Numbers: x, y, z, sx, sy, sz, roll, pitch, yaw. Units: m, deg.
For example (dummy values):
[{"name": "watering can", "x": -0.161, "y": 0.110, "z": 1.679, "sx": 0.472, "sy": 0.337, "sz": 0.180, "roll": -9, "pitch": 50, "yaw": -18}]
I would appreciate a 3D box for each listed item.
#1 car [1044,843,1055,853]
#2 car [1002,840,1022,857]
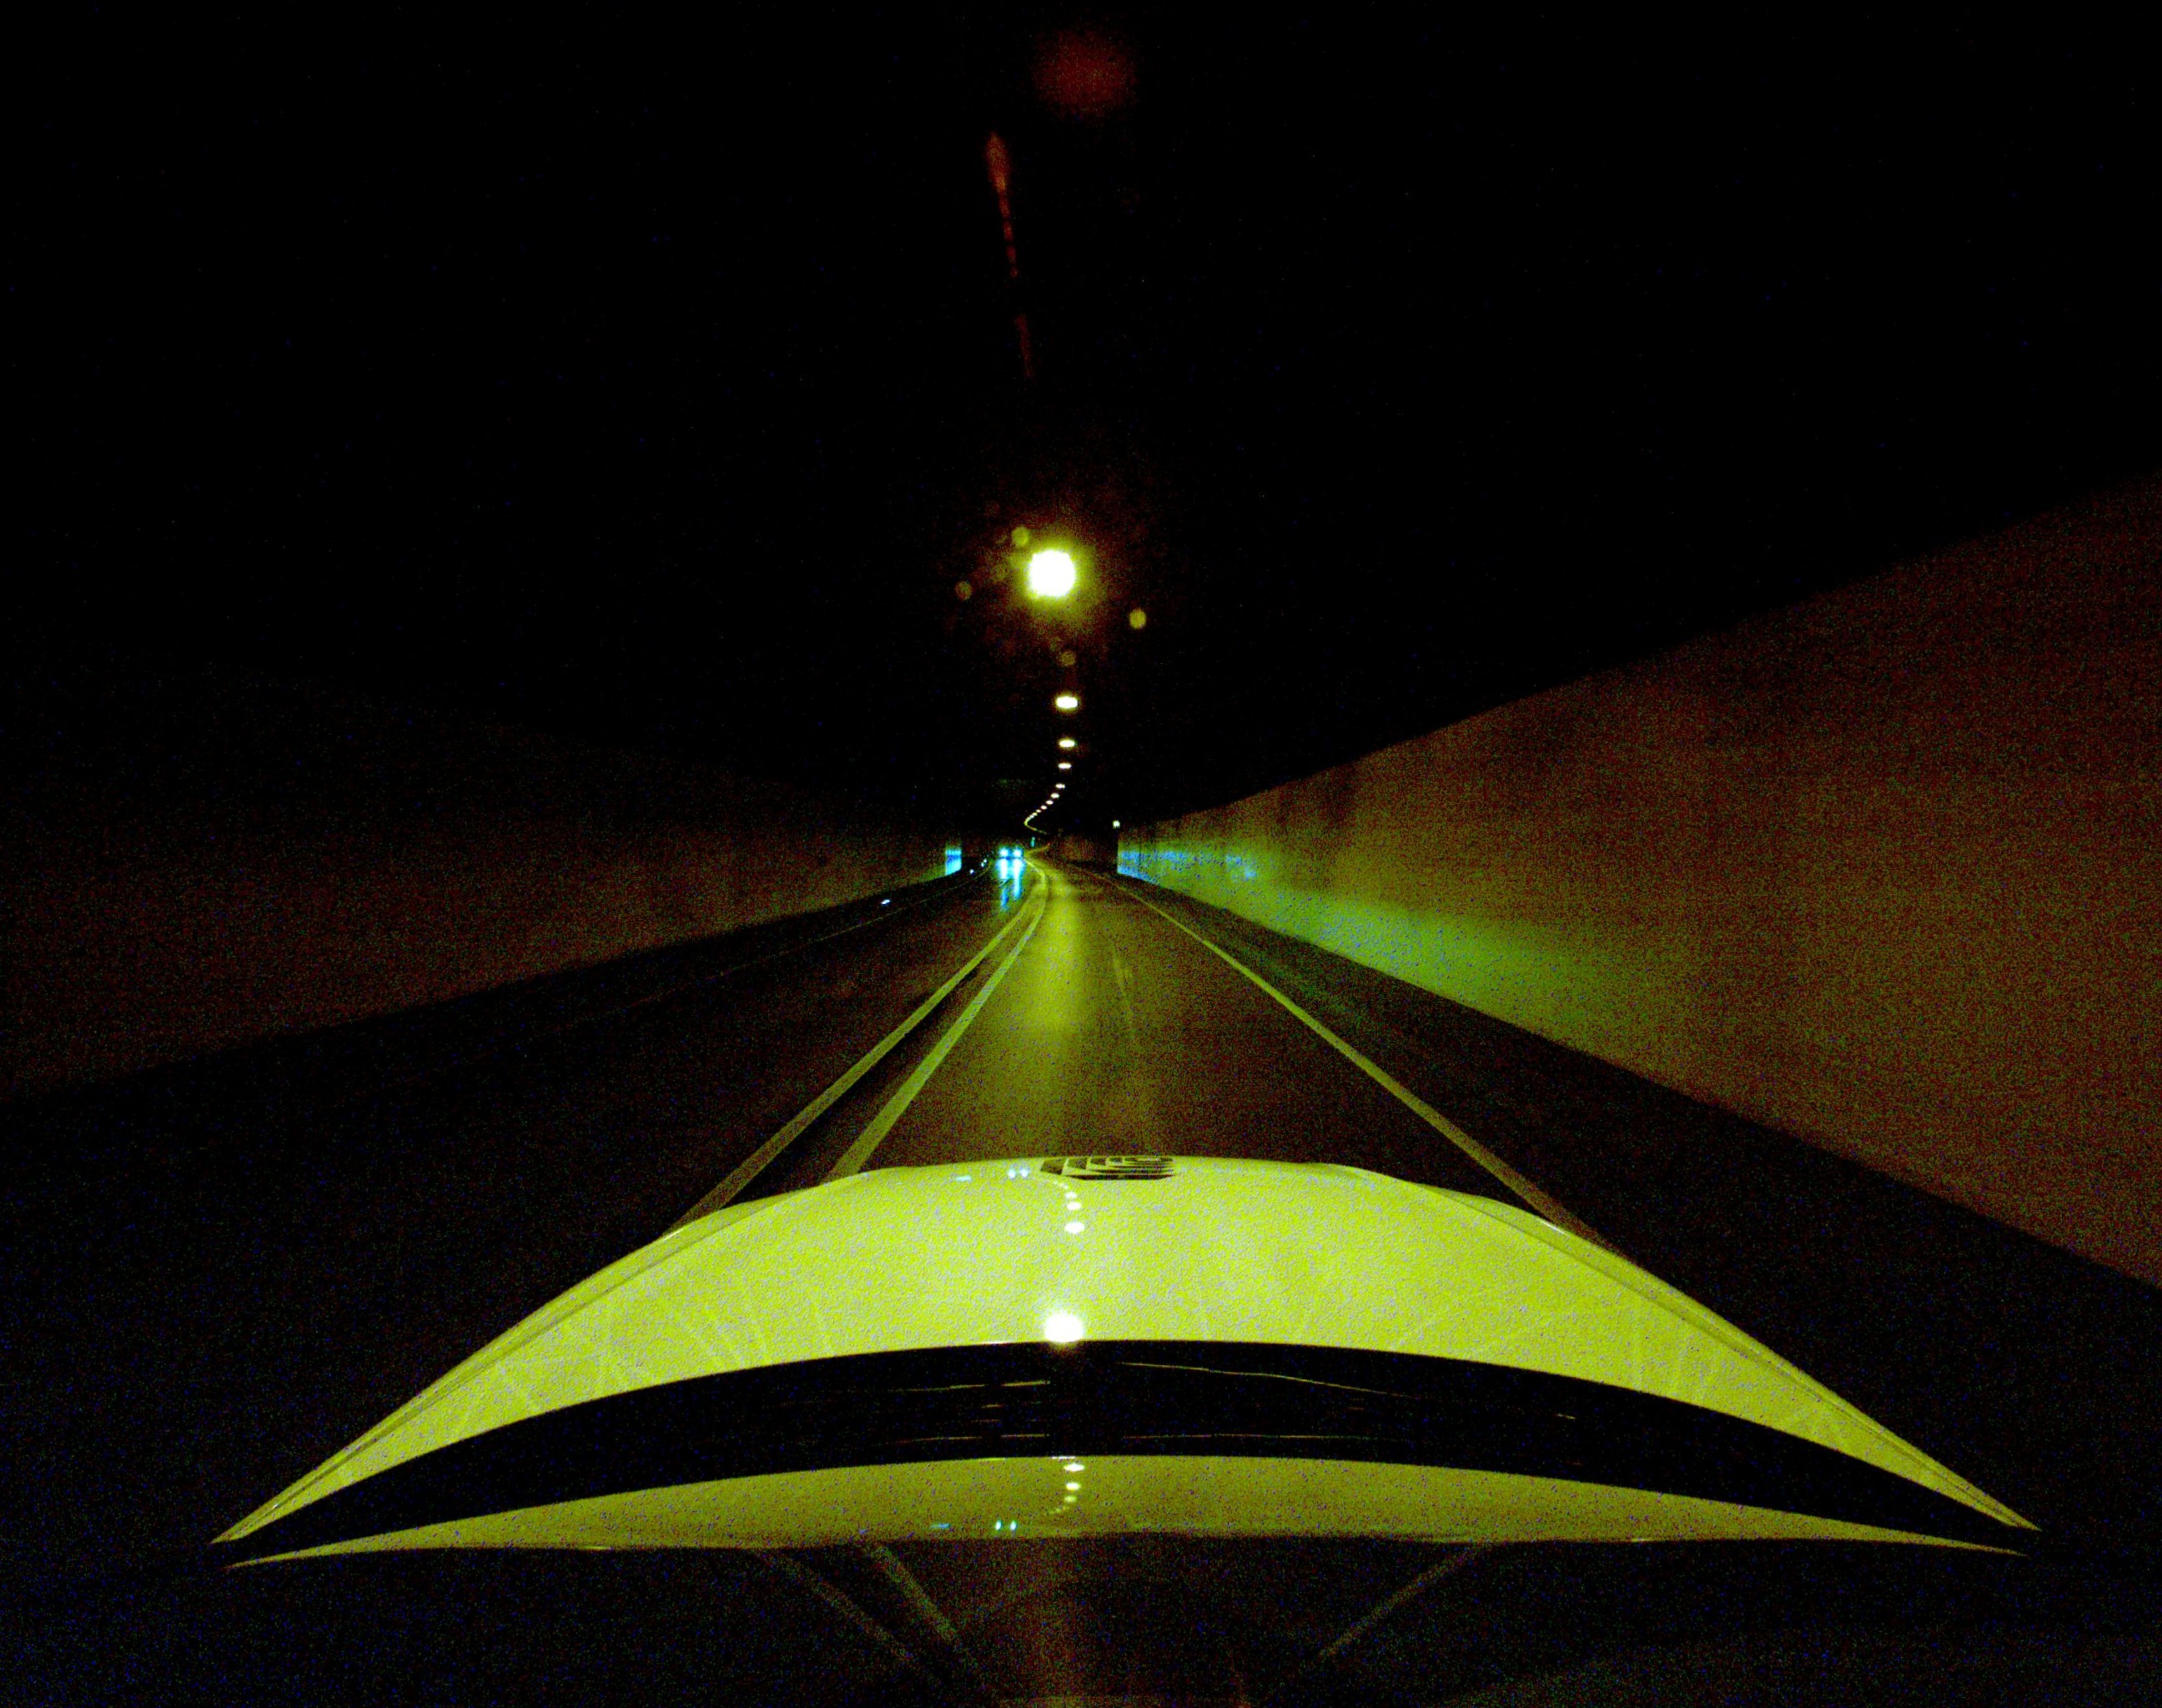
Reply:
[{"name": "car", "x": -5.218, "y": -1.033, "z": 135.251, "sx": 1.592, "sy": 1.456, "sz": 3.616, "roll": 3, "pitch": -2, "yaw": -3}, {"name": "car", "x": -7.462, "y": -0.558, "z": 87.848, "sx": 1.989, "sy": 1.596, "sz": 3.994, "roll": 3, "pitch": -2, "yaw": -4}]
